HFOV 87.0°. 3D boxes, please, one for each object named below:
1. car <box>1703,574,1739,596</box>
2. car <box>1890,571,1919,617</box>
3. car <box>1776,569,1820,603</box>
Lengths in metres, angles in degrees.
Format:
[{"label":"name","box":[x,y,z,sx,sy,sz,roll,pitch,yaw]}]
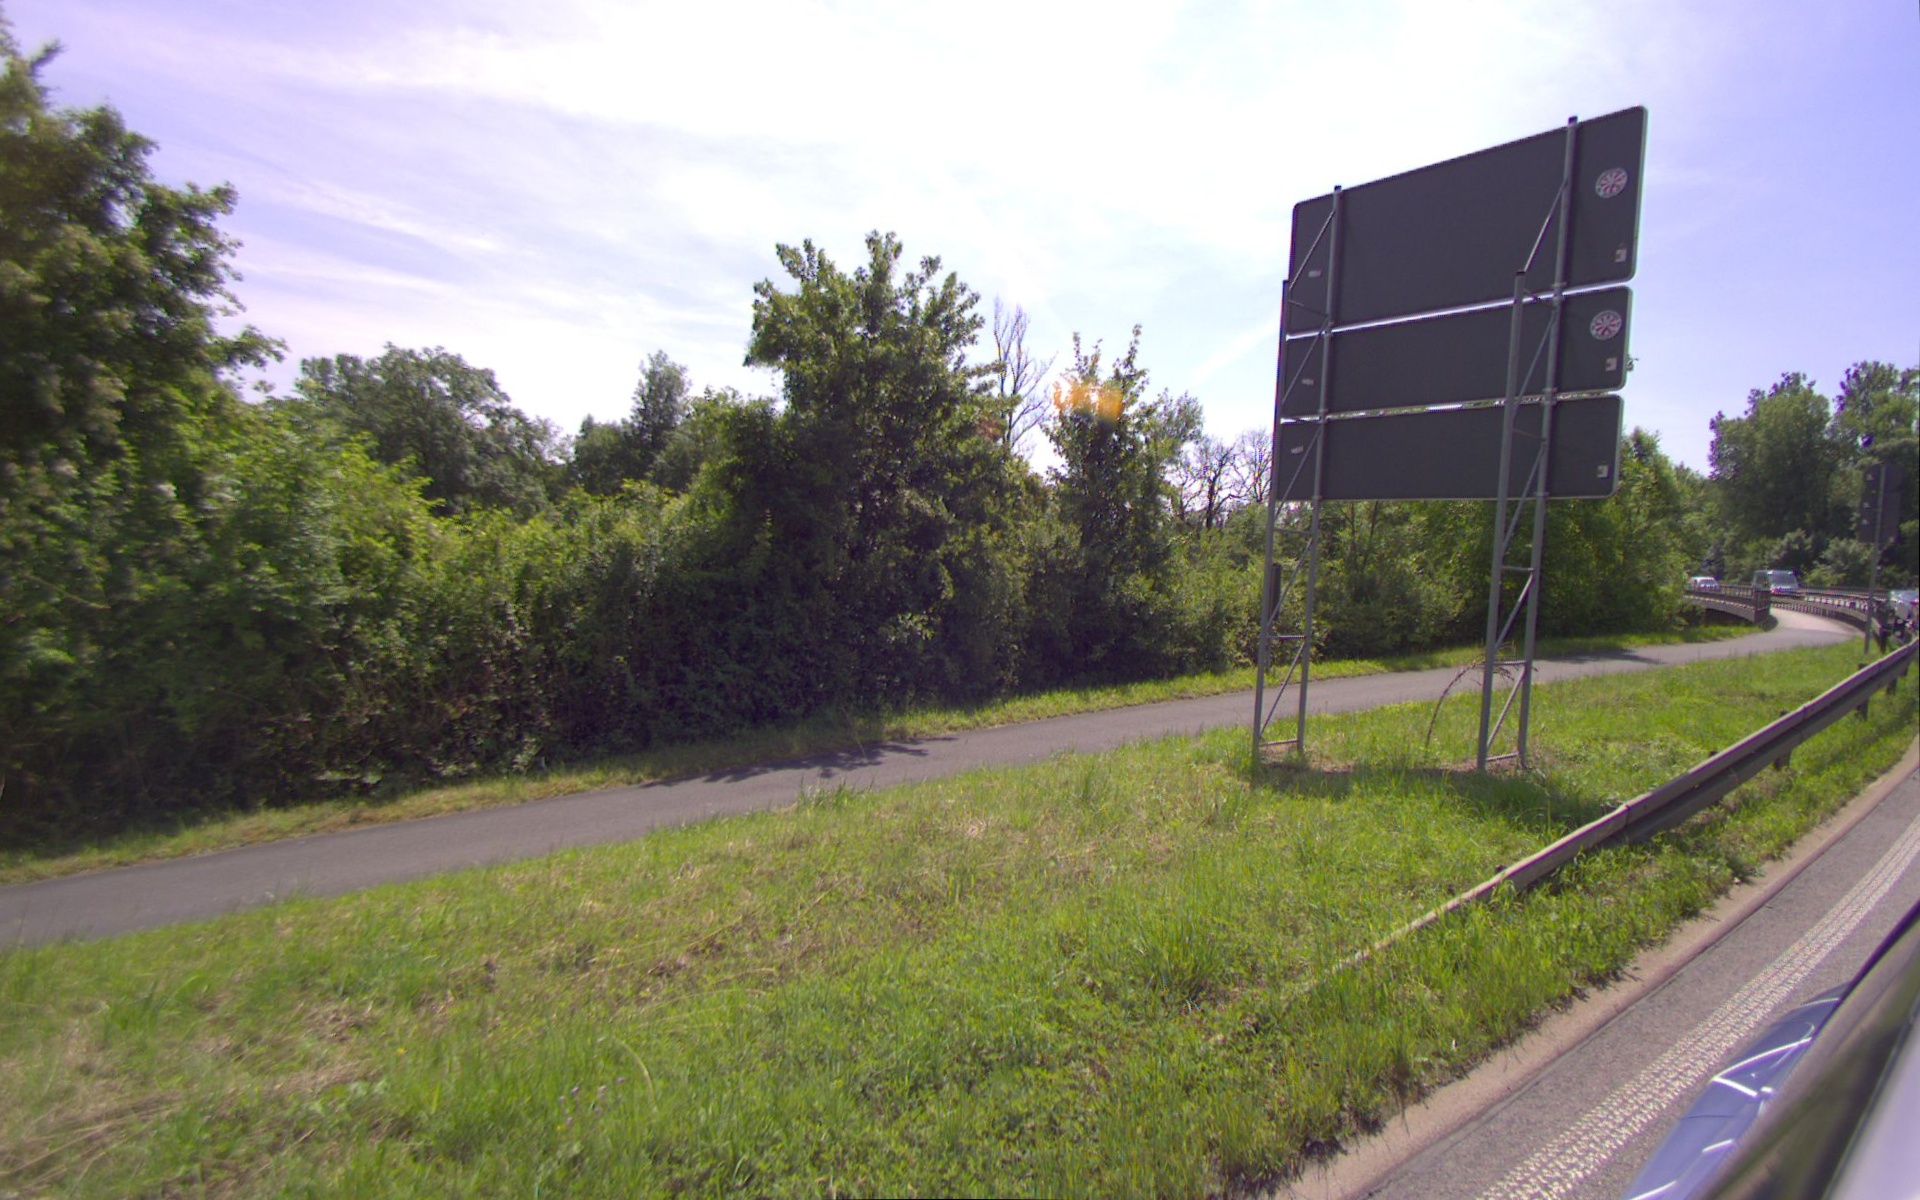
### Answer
[{"label":"car","box":[75.204,-1.487,100.082,1.981,2.038,4.670,0,2,27]},{"label":"car","box":[44.543,-0.303,46.580,1.987,2.038,3.951,0,2,35]},{"label":"car","box":[65.754,-1.111,79.461,1.985,2.516,4.805,0,2,32]}]
